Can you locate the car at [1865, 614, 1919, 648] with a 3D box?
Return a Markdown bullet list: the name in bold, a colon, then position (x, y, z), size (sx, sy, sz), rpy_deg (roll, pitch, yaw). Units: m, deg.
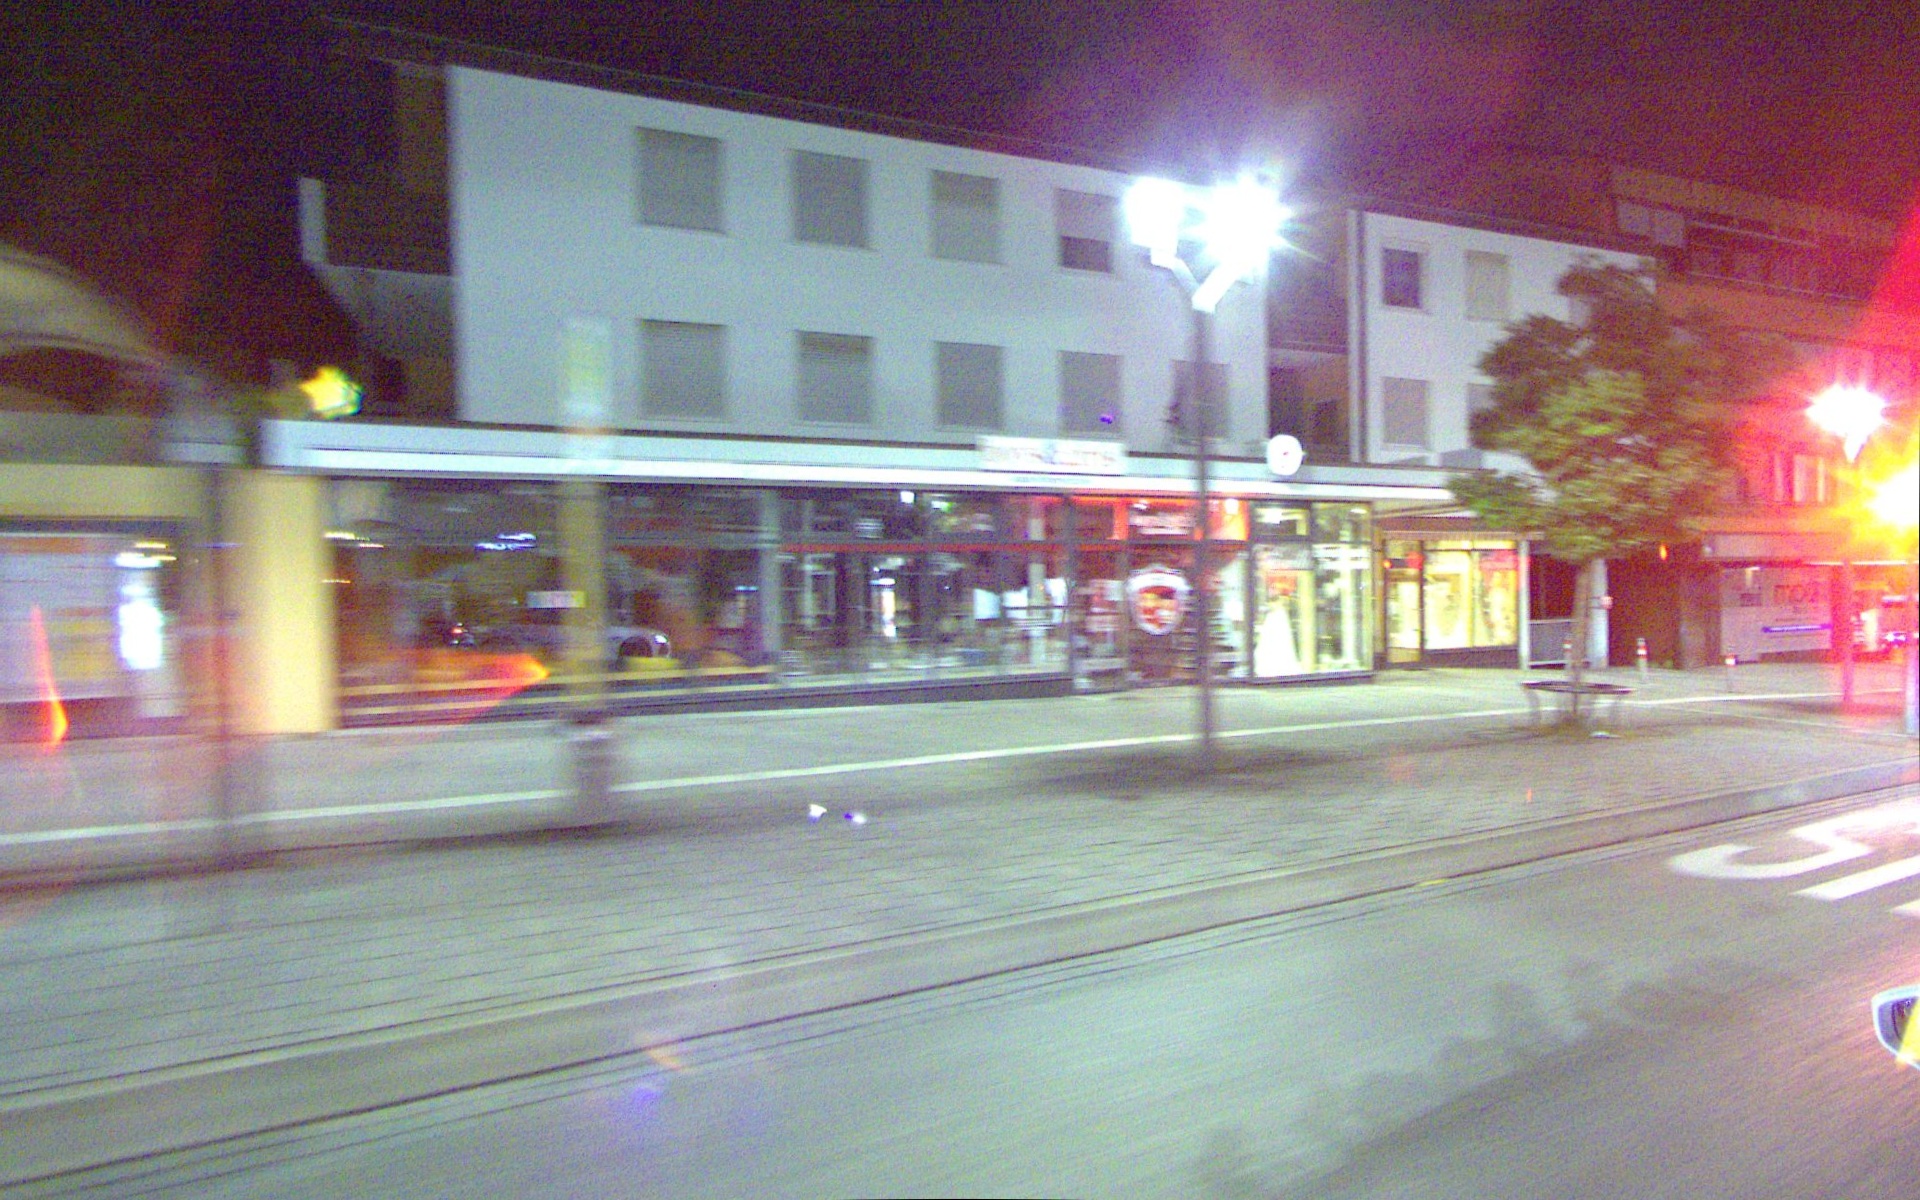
- **car**: position (47.150, 1.533, 49.381), size (1.799, 1.639, 3.764), rpy_deg (2, -1, -2)
